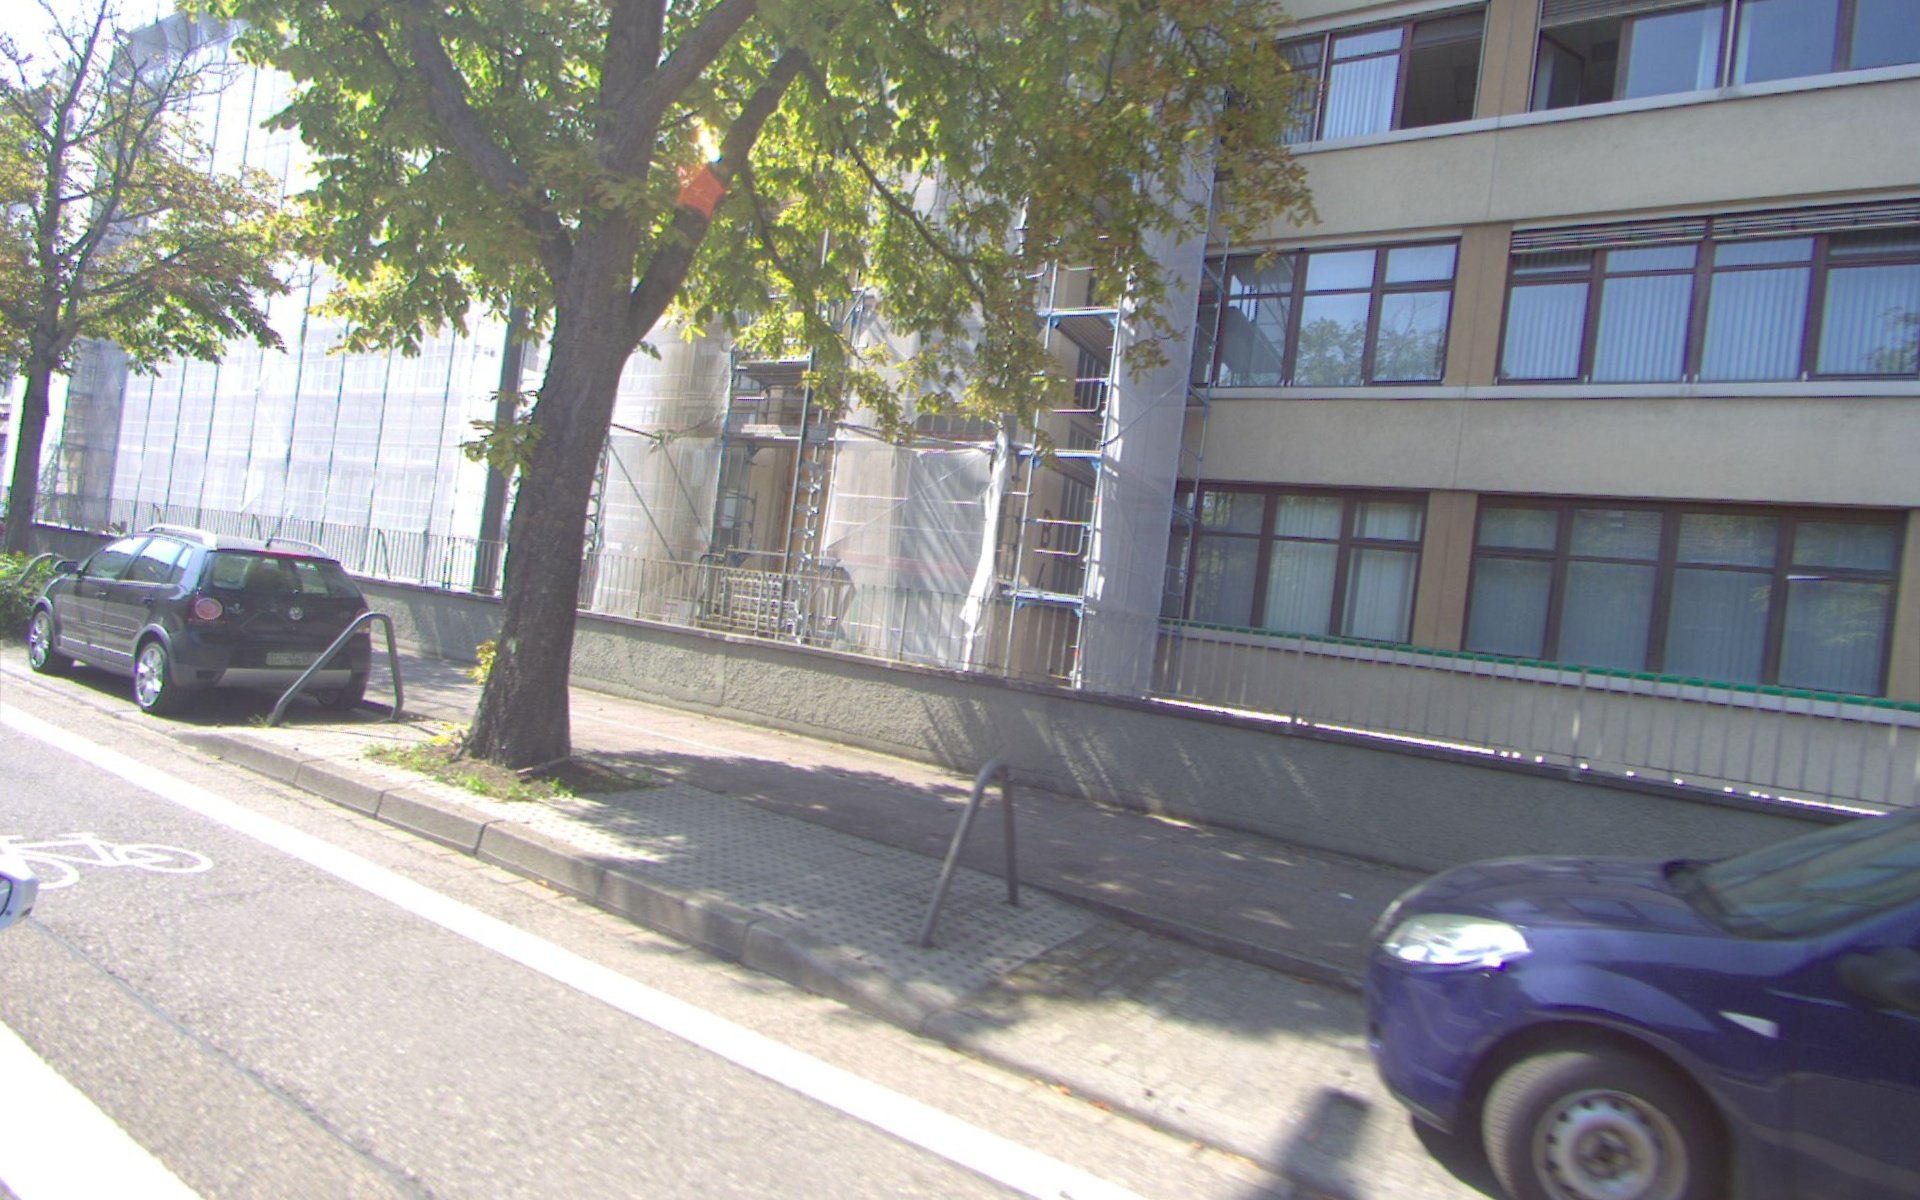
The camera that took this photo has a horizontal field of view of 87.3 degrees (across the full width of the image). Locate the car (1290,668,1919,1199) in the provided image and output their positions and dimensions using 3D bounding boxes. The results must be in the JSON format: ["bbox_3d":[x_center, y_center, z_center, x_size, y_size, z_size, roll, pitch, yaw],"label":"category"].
[{"bbox_3d":[3.324,1.297,3.018,4.016,1.589,1.643,8,0,32],"label":"car"}]

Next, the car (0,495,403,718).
[{"bbox_3d":[-7.345,0.024,9.629,3.934,1.588,1.688,7,-2,32],"label":"car"}]

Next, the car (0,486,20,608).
[{"bbox_3d":[-15.914,-1.047,14.741,4.570,1.708,1.766,7,-2,30],"label":"car"}]
